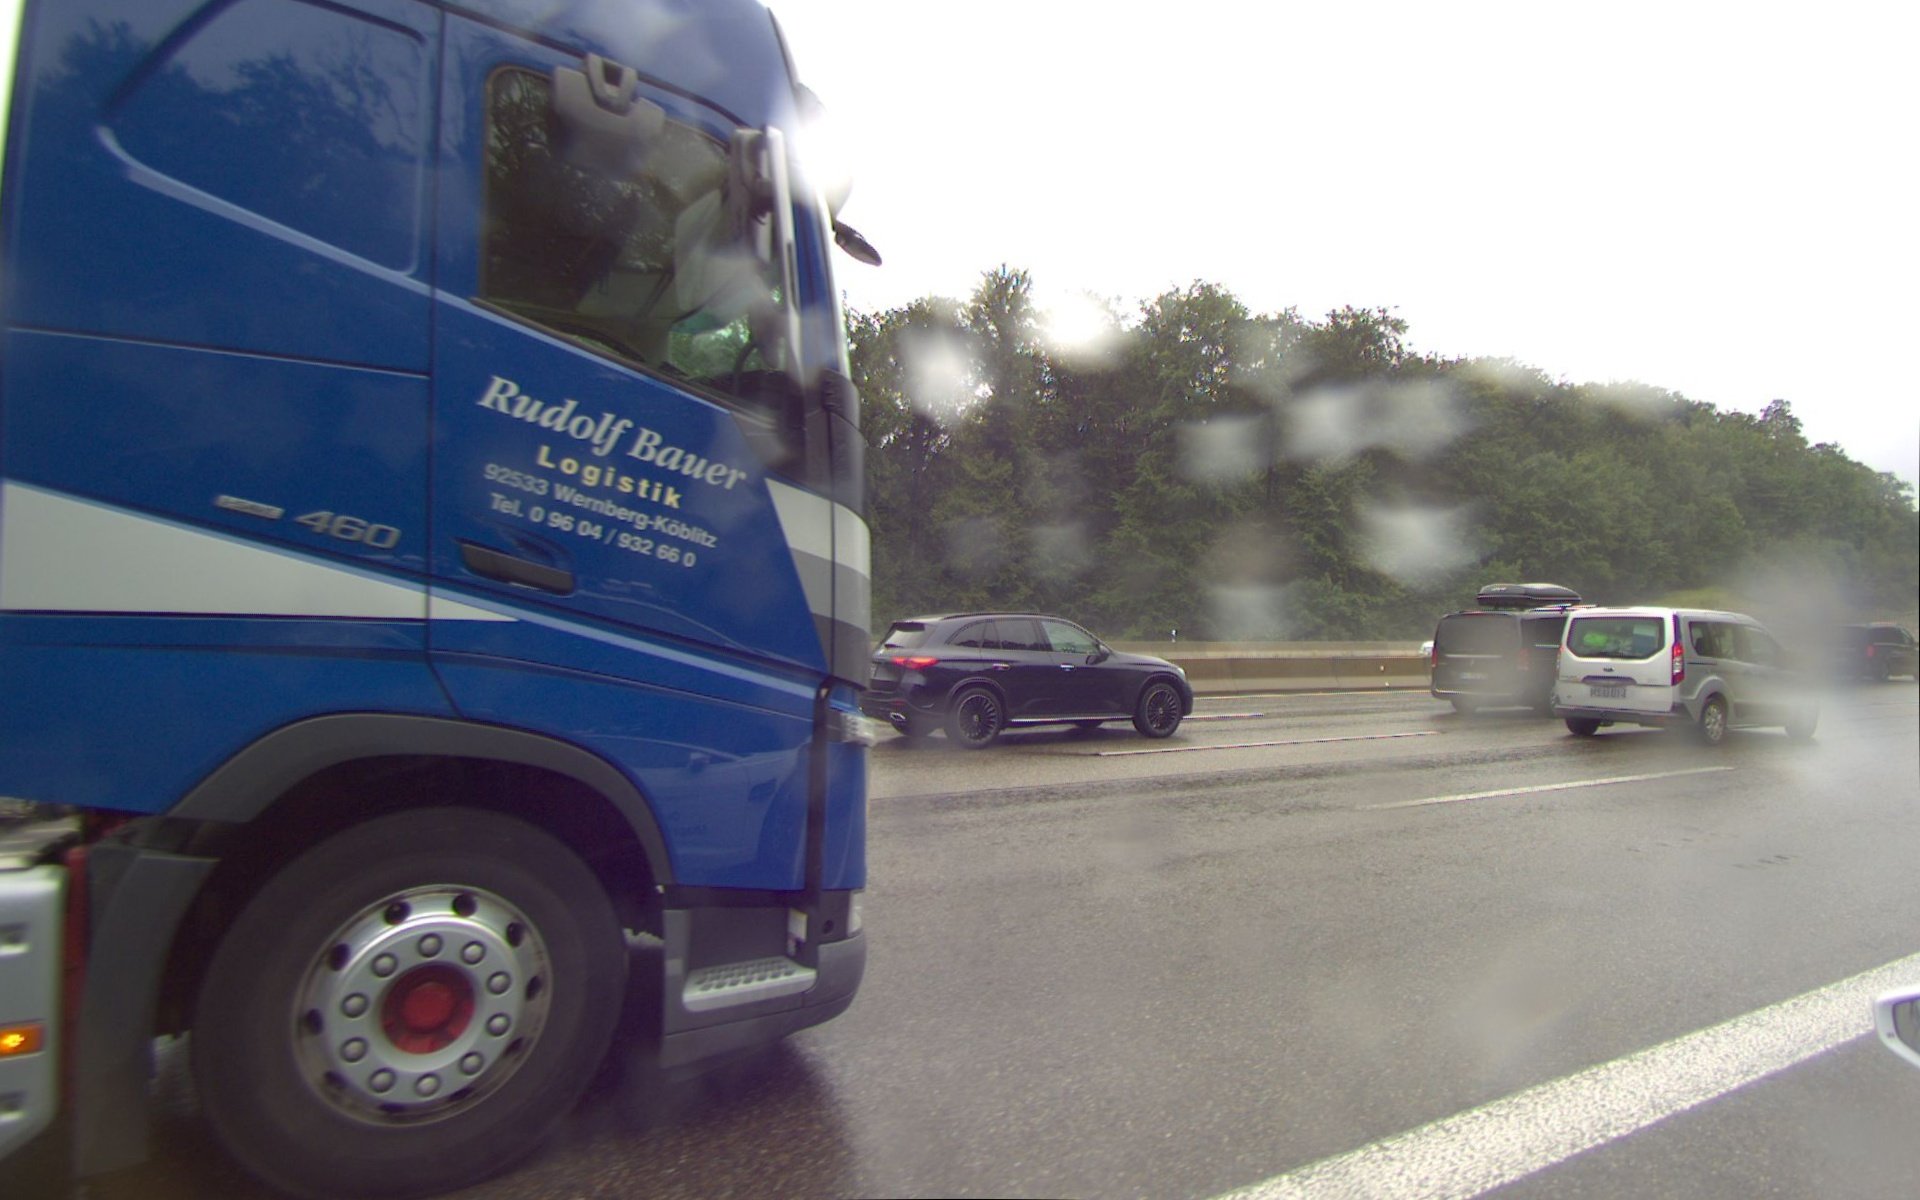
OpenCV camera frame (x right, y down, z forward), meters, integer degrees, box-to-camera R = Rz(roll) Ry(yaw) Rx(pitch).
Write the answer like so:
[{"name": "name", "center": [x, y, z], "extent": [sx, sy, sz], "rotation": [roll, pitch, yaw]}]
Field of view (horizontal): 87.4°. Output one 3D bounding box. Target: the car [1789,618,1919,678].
[{"name": "car", "center": [29.726, 1.571, 33.328], "extent": [4.530, 1.856, 1.919], "rotation": [1, -1, -29]}]

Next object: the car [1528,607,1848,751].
[{"name": "car", "center": [10.371, 1.038, 14.273], "extent": [4.508, 1.774, 1.839], "rotation": [1, -2, -27]}]

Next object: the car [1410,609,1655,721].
[{"name": "car", "center": [10.388, 1.115, 18.201], "extent": [4.102, 1.822, 1.986], "rotation": [1, -1, -28]}]

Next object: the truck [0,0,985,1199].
[{"name": "truck", "center": [-2.789, -0.374, 3.210], "extent": [4.994, 3.742, 2.865], "rotation": [1, -1, -29]}]

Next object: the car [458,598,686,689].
[{"name": "car", "center": [-7.915, 0.859, 20.510], "extent": [4.153, 1.679, 1.986], "rotation": [1, -1, -28]}]

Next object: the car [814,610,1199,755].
[{"name": "car", "center": [0.658, 0.981, 13.223], "extent": [4.747, 1.615, 1.986], "rotation": [1, -1, -28]}]
